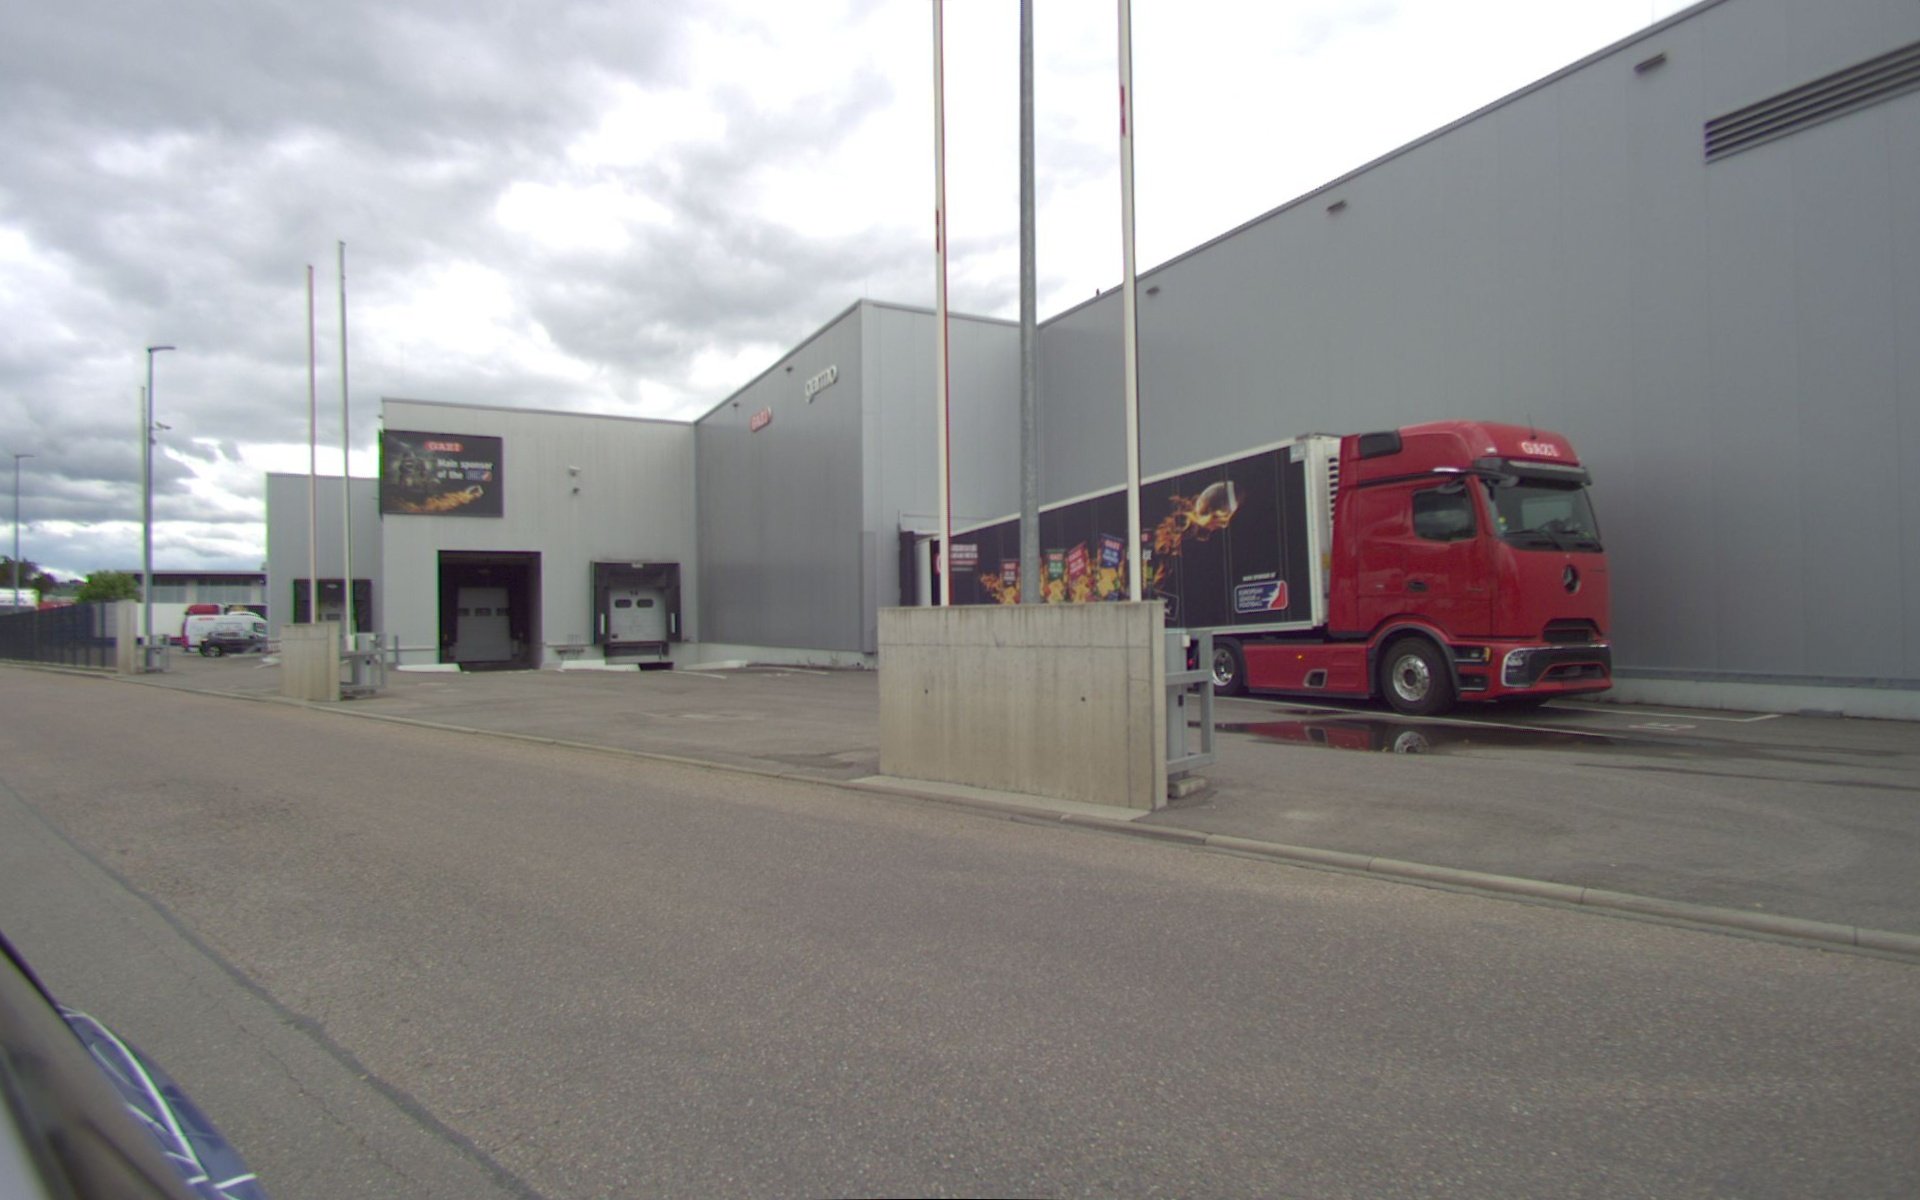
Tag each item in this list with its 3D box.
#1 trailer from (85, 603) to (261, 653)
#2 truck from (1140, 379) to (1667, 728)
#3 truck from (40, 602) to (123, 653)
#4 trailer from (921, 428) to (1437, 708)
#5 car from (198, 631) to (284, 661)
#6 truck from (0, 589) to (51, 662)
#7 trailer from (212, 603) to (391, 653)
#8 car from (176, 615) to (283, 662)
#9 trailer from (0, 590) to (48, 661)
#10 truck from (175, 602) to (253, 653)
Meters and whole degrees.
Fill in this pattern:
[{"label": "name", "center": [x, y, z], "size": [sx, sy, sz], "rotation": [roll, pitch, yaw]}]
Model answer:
[{"label": "trailer", "center": [-69.317, 2.568, 89.632], "size": [11.842, 4.164, 3.057], "rotation": [2, -3, -31]}, {"label": "truck", "center": [6.155, -0.472, 15.528], "size": [2.704, 4.061, 7.114], "rotation": [-1, -1, -29]}, {"label": "truck", "center": [-74.422, 2.356, 85.774], "size": [3.047, 4.164, 4.814], "rotation": [-2, -3, 41]}, {"label": "trailer", "center": [3.257, -0.313, 20.887], "size": [2.704, 4.061, 12.656], "rotation": [-1, -1, -29]}, {"label": "car", "center": [-43.778, 2.787, 61.689], "size": [4.011, 1.589, 1.950], "rotation": [-2, -1, -28]}, {"label": "truck", "center": [-56.604, 1.540, 60.227], "size": [5.629, 4.192, 3.321], "rotation": [-2, -4, 45]}, {"label": "trailer", "center": [-58.053, 2.543, 89.850], "size": [12.962, 4.245, 3.058], "rotation": [1, -3, -27]}, {"label": "car", "center": [-47.170, 2.469, 65.478], "size": [5.342, 2.751, 2.248], "rotation": [-2, -1, -30]}, {"label": "trailer", "center": [-61.566, 1.720, 65.163], "size": [13.854, 4.192, 3.321], "rotation": [-2, -4, 45]}, {"label": "truck", "center": [-63.934, 2.398, 86.877], "size": [4.797, 4.237, 3.058], "rotation": [1, -3, -27]}]
